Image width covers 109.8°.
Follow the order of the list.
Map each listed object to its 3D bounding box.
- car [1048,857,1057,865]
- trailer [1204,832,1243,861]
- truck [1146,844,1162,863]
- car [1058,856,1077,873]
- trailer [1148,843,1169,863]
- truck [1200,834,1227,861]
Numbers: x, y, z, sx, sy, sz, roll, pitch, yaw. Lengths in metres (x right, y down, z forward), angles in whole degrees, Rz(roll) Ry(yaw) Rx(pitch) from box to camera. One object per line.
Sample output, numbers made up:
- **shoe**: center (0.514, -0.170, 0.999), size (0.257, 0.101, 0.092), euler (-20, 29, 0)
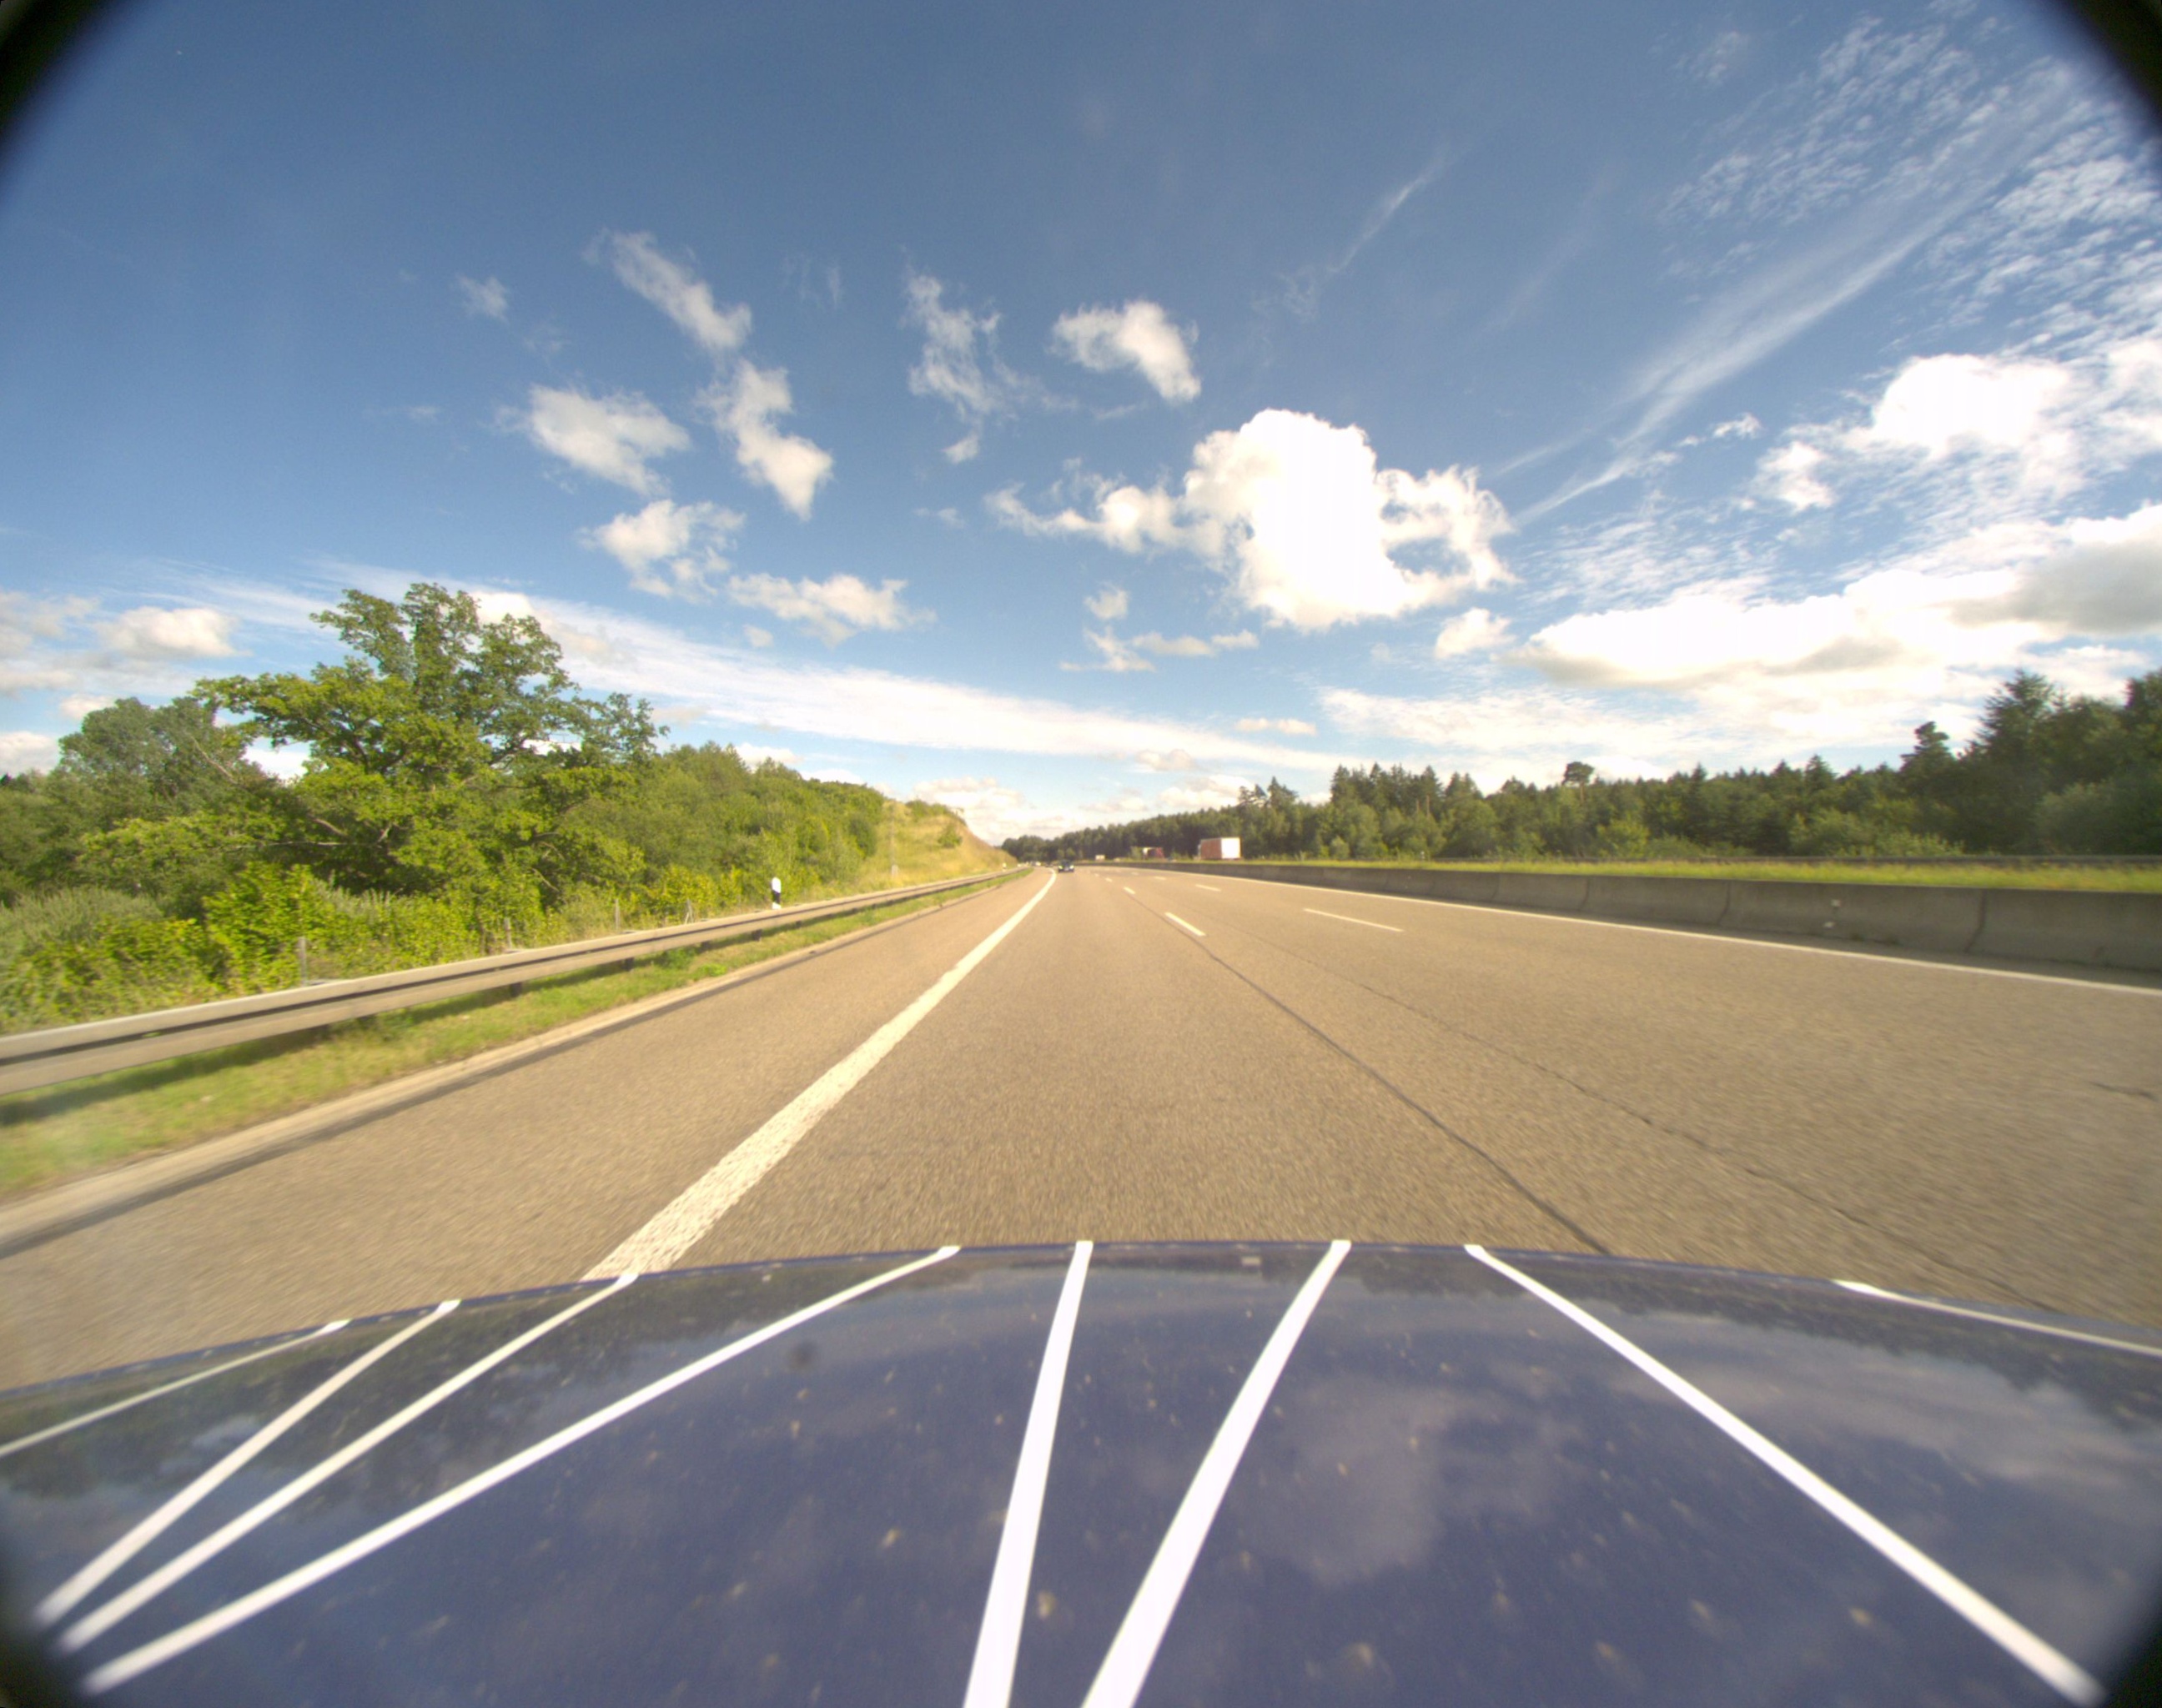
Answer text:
- **car**: center (-7.286, 1.798, 195.273), size (1.999, 2.002, 3.998), euler (-3, 0, -5)
- **trailer**: center (21.217, -1.022, 113.912), size (3.029, 4.084, 12.790), euler (-2, 0, -1)
- **truck**: center (17.380, -0.181, 181.568), size (2.810, 4.366, 5.463), euler (-2, 0, -3)
- **car**: center (-1.609, 1.212, 89.189), size (1.999, 1.827, 3.999), euler (-2, 1, -3)
- **trailer**: center (17.718, -0.231, 174.199), size (2.810, 4.366, 12.047), euler (-2, 0, -3)
- **truck**: center (21.103, -1.021, 121.430), size (3.032, 4.084, 5.668), euler (-2, 0, -1)
